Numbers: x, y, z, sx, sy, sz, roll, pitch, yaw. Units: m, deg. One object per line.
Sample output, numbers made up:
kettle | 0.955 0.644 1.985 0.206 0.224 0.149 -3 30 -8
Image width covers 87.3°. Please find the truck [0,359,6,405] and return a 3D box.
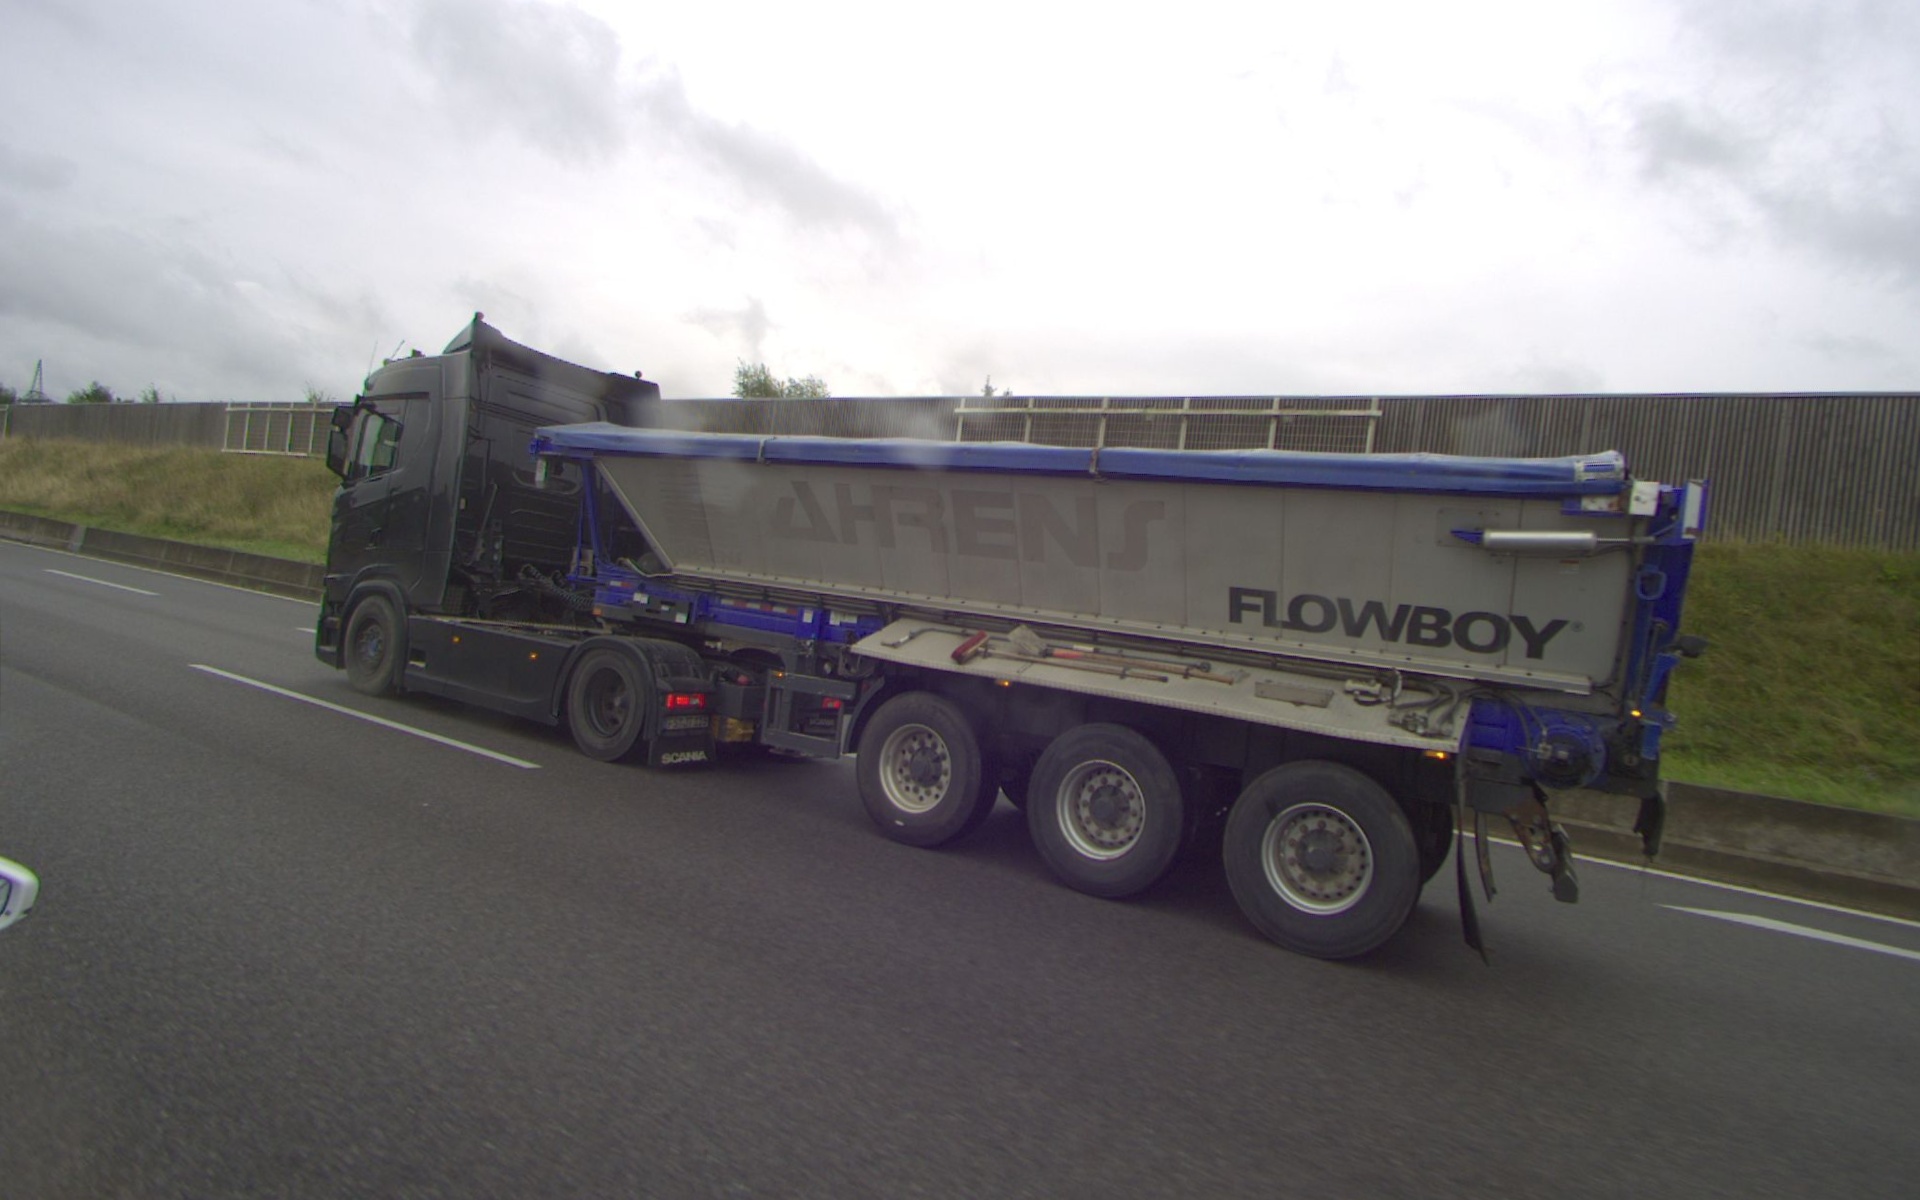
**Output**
truck | -32.526 -4.768 29.183 11.035 5.326 4.005 6 -2 32

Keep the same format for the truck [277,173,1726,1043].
truck | -1.323 -0.444 9.073 12.502 3.998 2.817 7 0 32
